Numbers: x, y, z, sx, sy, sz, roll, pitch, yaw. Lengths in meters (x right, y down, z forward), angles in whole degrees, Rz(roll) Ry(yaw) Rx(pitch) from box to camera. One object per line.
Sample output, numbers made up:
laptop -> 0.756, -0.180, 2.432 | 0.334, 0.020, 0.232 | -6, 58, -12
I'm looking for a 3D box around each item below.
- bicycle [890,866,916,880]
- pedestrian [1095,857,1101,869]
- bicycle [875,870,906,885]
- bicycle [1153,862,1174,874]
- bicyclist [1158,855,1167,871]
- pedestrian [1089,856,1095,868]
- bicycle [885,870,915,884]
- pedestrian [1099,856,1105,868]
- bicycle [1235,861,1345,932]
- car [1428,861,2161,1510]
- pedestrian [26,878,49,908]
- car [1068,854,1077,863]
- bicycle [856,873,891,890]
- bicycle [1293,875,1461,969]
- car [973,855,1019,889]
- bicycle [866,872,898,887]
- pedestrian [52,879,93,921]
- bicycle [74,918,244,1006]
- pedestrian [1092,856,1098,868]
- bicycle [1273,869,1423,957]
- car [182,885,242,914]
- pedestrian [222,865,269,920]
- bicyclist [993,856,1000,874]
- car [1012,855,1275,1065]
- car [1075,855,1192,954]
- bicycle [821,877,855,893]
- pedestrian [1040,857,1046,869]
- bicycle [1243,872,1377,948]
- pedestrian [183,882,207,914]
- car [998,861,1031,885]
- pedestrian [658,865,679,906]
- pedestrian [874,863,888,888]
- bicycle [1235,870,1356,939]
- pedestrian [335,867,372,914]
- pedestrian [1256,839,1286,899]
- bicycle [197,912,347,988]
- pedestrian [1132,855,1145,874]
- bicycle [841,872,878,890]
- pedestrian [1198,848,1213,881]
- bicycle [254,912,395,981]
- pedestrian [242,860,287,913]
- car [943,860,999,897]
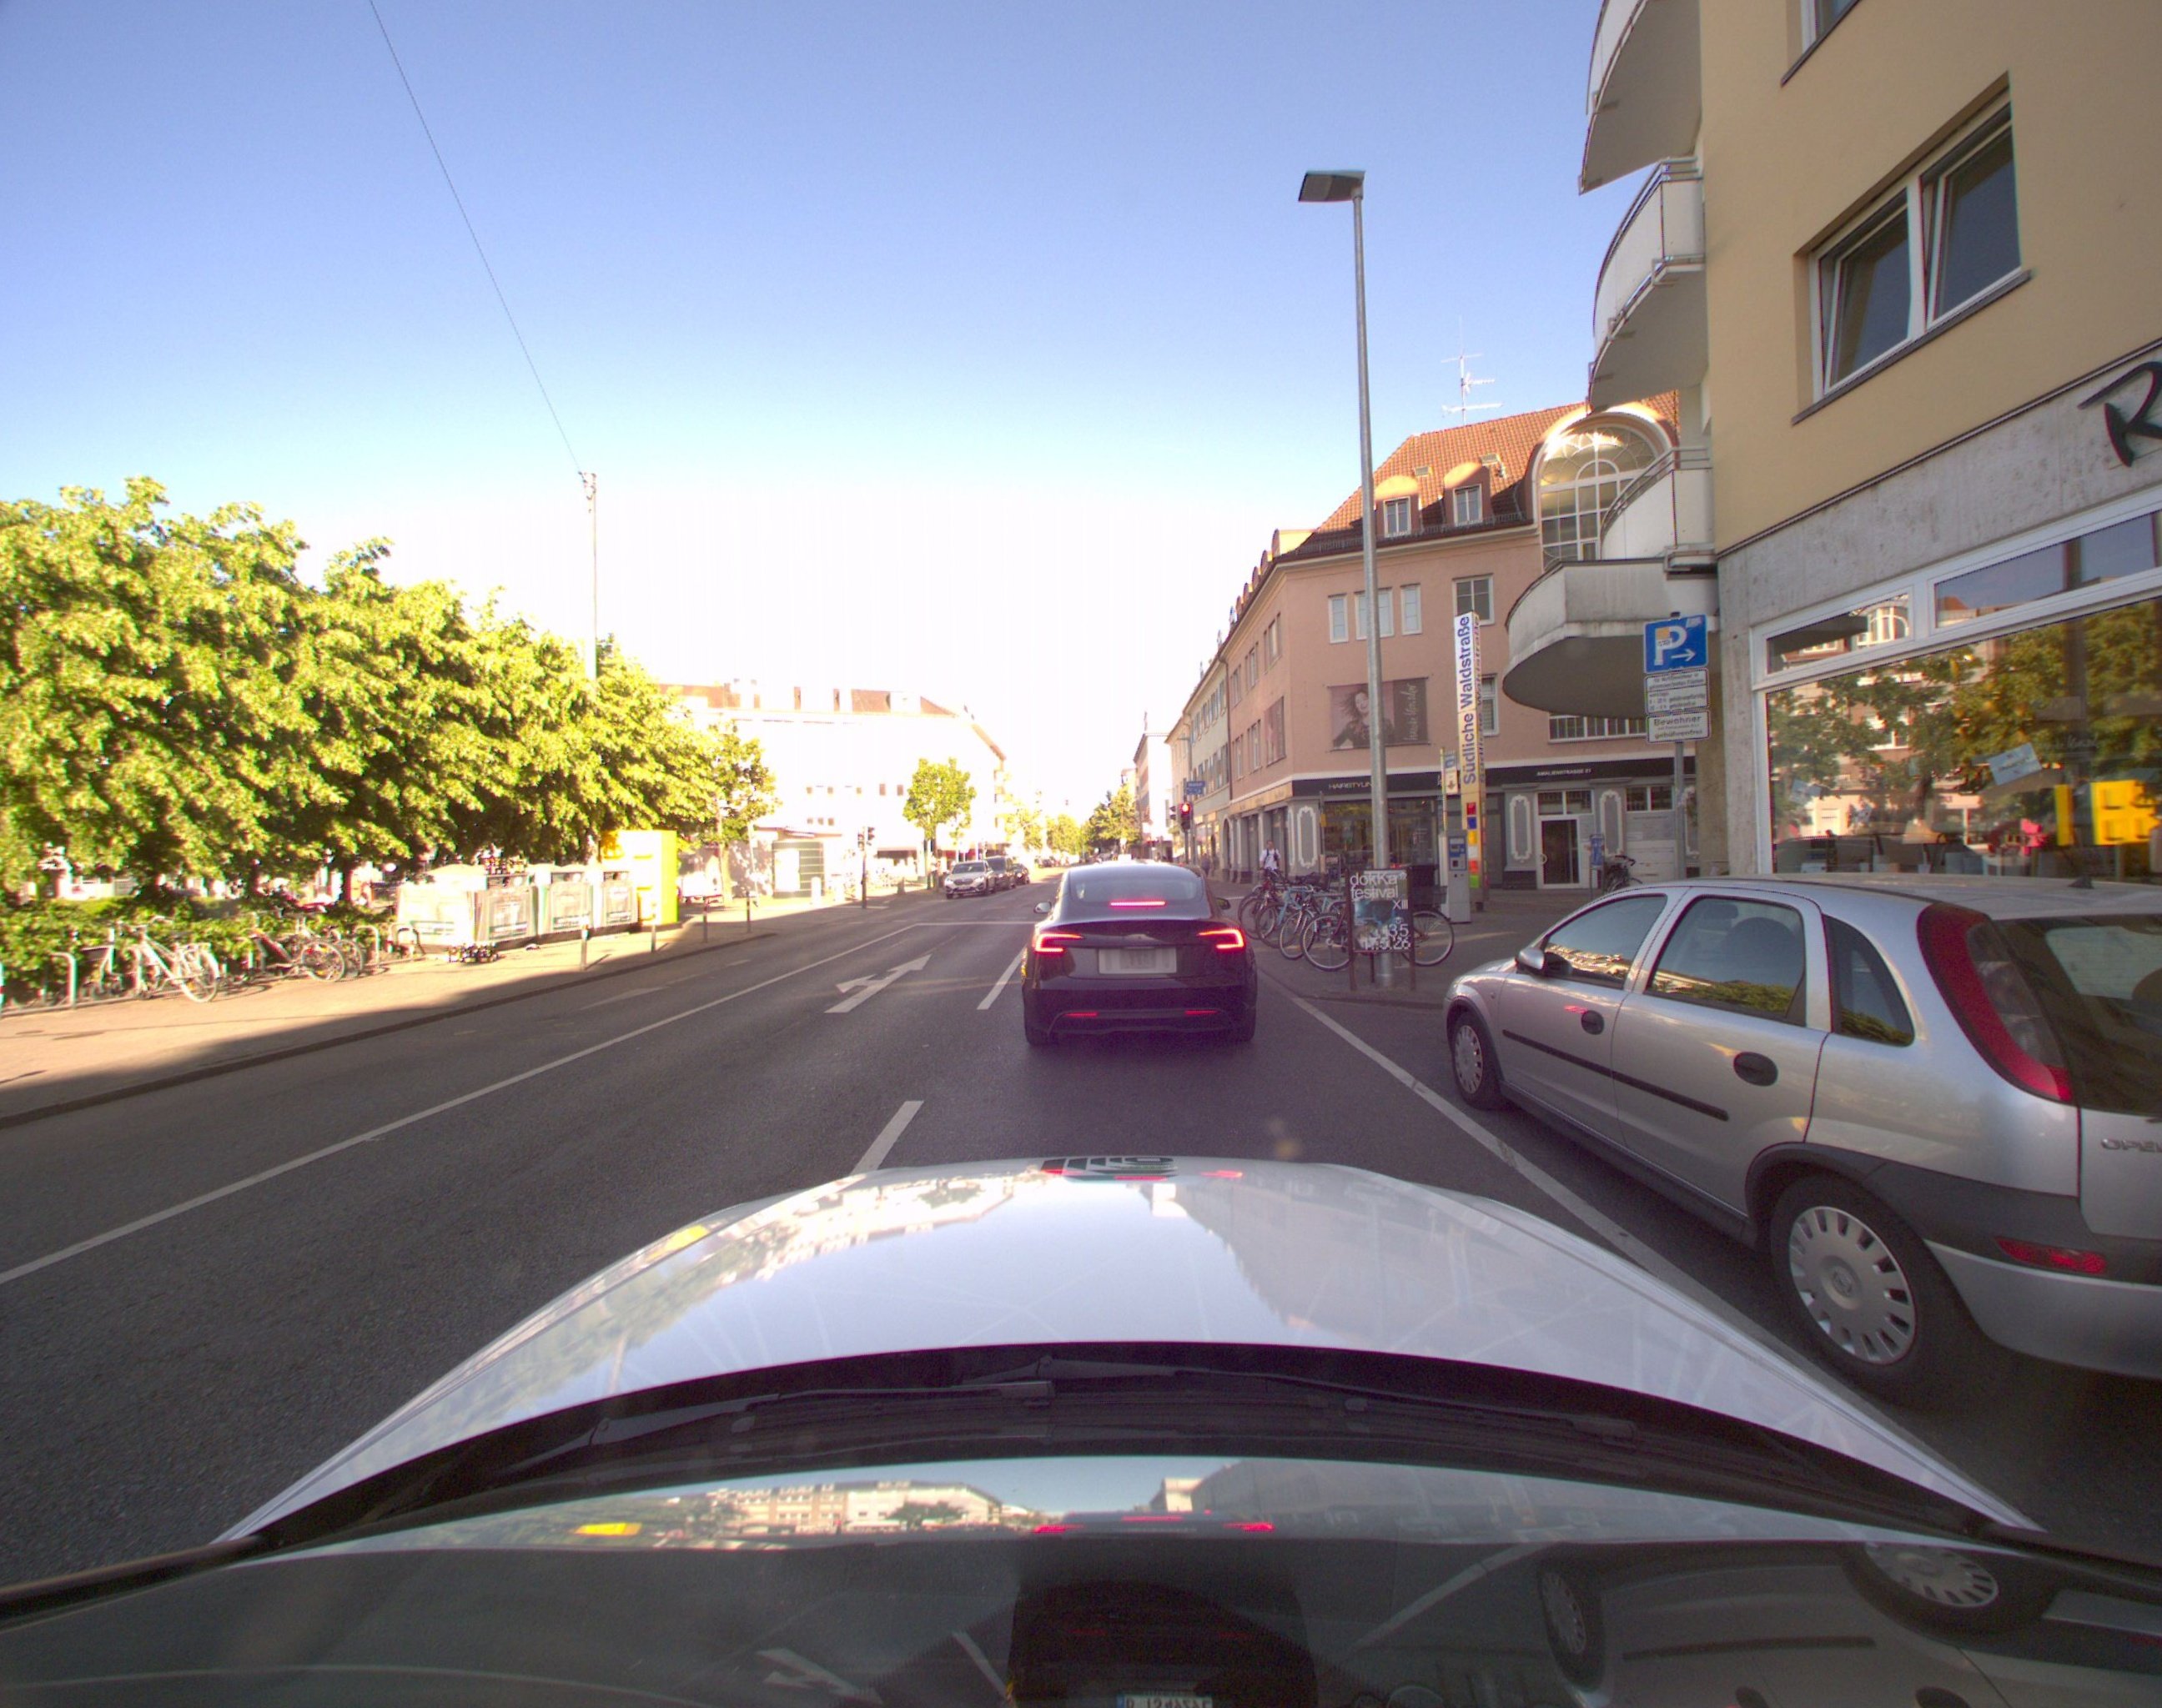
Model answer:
bicycle -> -17.123, 1.819, 78.471 | 2.373, 1.296, 0.509 | 0, -1, -25
pedestrian -> 2.018, 1.035, 94.625 | 0.524, 1.422, 0.475 | 0, -1, -28
bicycle -> -12.271, 1.521, 52.541 | 1.857, 0.934, 0.606 | -1, 0, 0
bicycle -> 7.221, 1.195, 71.270 | 1.787, 1.007, 0.469 | 0, -1, -15
bicyclist -> 7.171, 0.796, 71.274 | 0.670, 1.395, 0.460 | 0, -1, -14
pedestrian -> 1.275, 0.944, 94.359 | 0.474, 1.417, 0.517 | 0, -1, -29
bicycle -> -12.191, 1.540, 54.989 | 1.857, 0.934, 0.606 | -1, 0, 0
pedestrian -> 2.449, 0.928, 93.995 | 0.524, 1.422, 0.475 | 0, -1, -28
bicycle -> 3.774, 0.759, 14.788 | 1.818, 1.169, 0.507 | -3, -1, 7
car -> 2.951, 0.741, 3.512 | 1.540, 1.390, 3.479 | -1, -1, 3
pedestrian -> -77.762, 2.919, 60.667 | 0.891, 2.171, 0.882 | -1, -1, 26
car -> -1.951, 0.950, 187.449 | 1.986, 2.013, 4.001 | -1, 0, 2
bicycle -> -12.157, 1.615, 47.779 | 1.857, 0.934, 0.606 | 0, -1, 0
bicycle -> 3.608, 0.837, 10.022 | 1.862, 1.038, 0.354 | -3, -1, 8
car -> -4.383, 0.886, 42.628 | 1.780, 1.646, 4.404 | -1, 0, 2
bicycle -> -12.281, 1.577, 50.258 | 1.857, 0.934, 0.606 | 0, -1, 0
pedestrian -> -50.380, 2.272, 40.702 | 1.145, 2.013, 1.040 | -2, 0, 26
bicycle -> -11.627, 1.340, 10.278 | 1.919, 1.015, 0.518 | -1, -1, 12
pedestrian -> 1.581, 0.895, 93.480 | 0.524, 1.422, 0.475 | 0, -1, -28
bicycle -> 3.647, 0.805, 11.195 | 1.864, 1.087, 0.415 | -3, -1, 5
car -> -45.620, 2.349, 42.758 | 3.526, 1.386, 1.703 | -1, 0, 36
pedestrian -> -31.549, 1.441, 30.745 | 0.890, 2.013, 0.893 | -1, 0, 15
bicyclist -> -7.023, 0.918, 67.731 | 0.525, 1.503, 0.473 | 0, -1, -22
car -> 0.500, 0.760, 7.723 | 1.815, 1.442, 4.001 | -1, -1, 2
car -> 0.791, 0.748, 13.936 | 1.712, 1.425, 3.757 | -1, 0, 0
bicycle -> -12.841, 1.633, 43.081 | 1.640, 0.792, 0.606 | 0, -1, -3
pedestrian -> -5.328, 1.224, 113.957 | 0.845, 1.695, 0.718 | -1, 0, -1
bicycle -> 3.487, 0.850, 12.485 | 1.864, 1.038, 0.534 | -3, -1, 5
pedestrian -> -48.846, 2.439, 44.883 | 0.842, 1.717, 0.761 | -2, -1, 35
car -> -4.256, 1.188, 52.599 | 1.709, 1.446, 3.846 | 0, -1, 2
pedestrian -> -17.790, 1.350, 35.146 | 0.472, 1.716, 0.713 | -1, -1, 12
pedestrian -> -16.591, 1.772, 67.600 | 1.060, 2.014, 1.049 | 0, -1, -18
bicycle -> 3.577, 0.839, 13.671 | 1.863, 1.038, 0.548 | -3, -1, 7
pedestrian -> -27.365, 1.358, 30.640 | 0.754, 1.698, 0.793 | -1, 0, 25
pedestrian -> 5.685, 0.454, 24.416 | 0.747, 1.765, 0.838 | 0, -1, 6
bicycle -> -11.556, 1.352, 11.639 | 1.913, 1.003, 0.518 | -1, -1, 11
pedestrian -> 4.850, 0.906, 68.887 | 0.756, 1.631, 0.951 | 0, -1, -16
bicycle -> -12.412, 1.502, 45.652 | 1.857, 0.934, 0.606 | -1, -1, 0
pedestrian -> 6.627, 0.551, 43.379 | 0.704, 1.742, 0.540 | -1, 0, 1
bicycle -> -11.325, 1.371, 12.202 | 1.888, 0.955, 0.518 | -1, -1, 11
pedestrian -> -31.866, 1.258, 31.799 | 0.890, 2.013, 0.893 | -1, 0, 15
car -> -4.840, 1.044, 36.421 | 1.782, 1.460, 3.759 | -4, -1, 2
